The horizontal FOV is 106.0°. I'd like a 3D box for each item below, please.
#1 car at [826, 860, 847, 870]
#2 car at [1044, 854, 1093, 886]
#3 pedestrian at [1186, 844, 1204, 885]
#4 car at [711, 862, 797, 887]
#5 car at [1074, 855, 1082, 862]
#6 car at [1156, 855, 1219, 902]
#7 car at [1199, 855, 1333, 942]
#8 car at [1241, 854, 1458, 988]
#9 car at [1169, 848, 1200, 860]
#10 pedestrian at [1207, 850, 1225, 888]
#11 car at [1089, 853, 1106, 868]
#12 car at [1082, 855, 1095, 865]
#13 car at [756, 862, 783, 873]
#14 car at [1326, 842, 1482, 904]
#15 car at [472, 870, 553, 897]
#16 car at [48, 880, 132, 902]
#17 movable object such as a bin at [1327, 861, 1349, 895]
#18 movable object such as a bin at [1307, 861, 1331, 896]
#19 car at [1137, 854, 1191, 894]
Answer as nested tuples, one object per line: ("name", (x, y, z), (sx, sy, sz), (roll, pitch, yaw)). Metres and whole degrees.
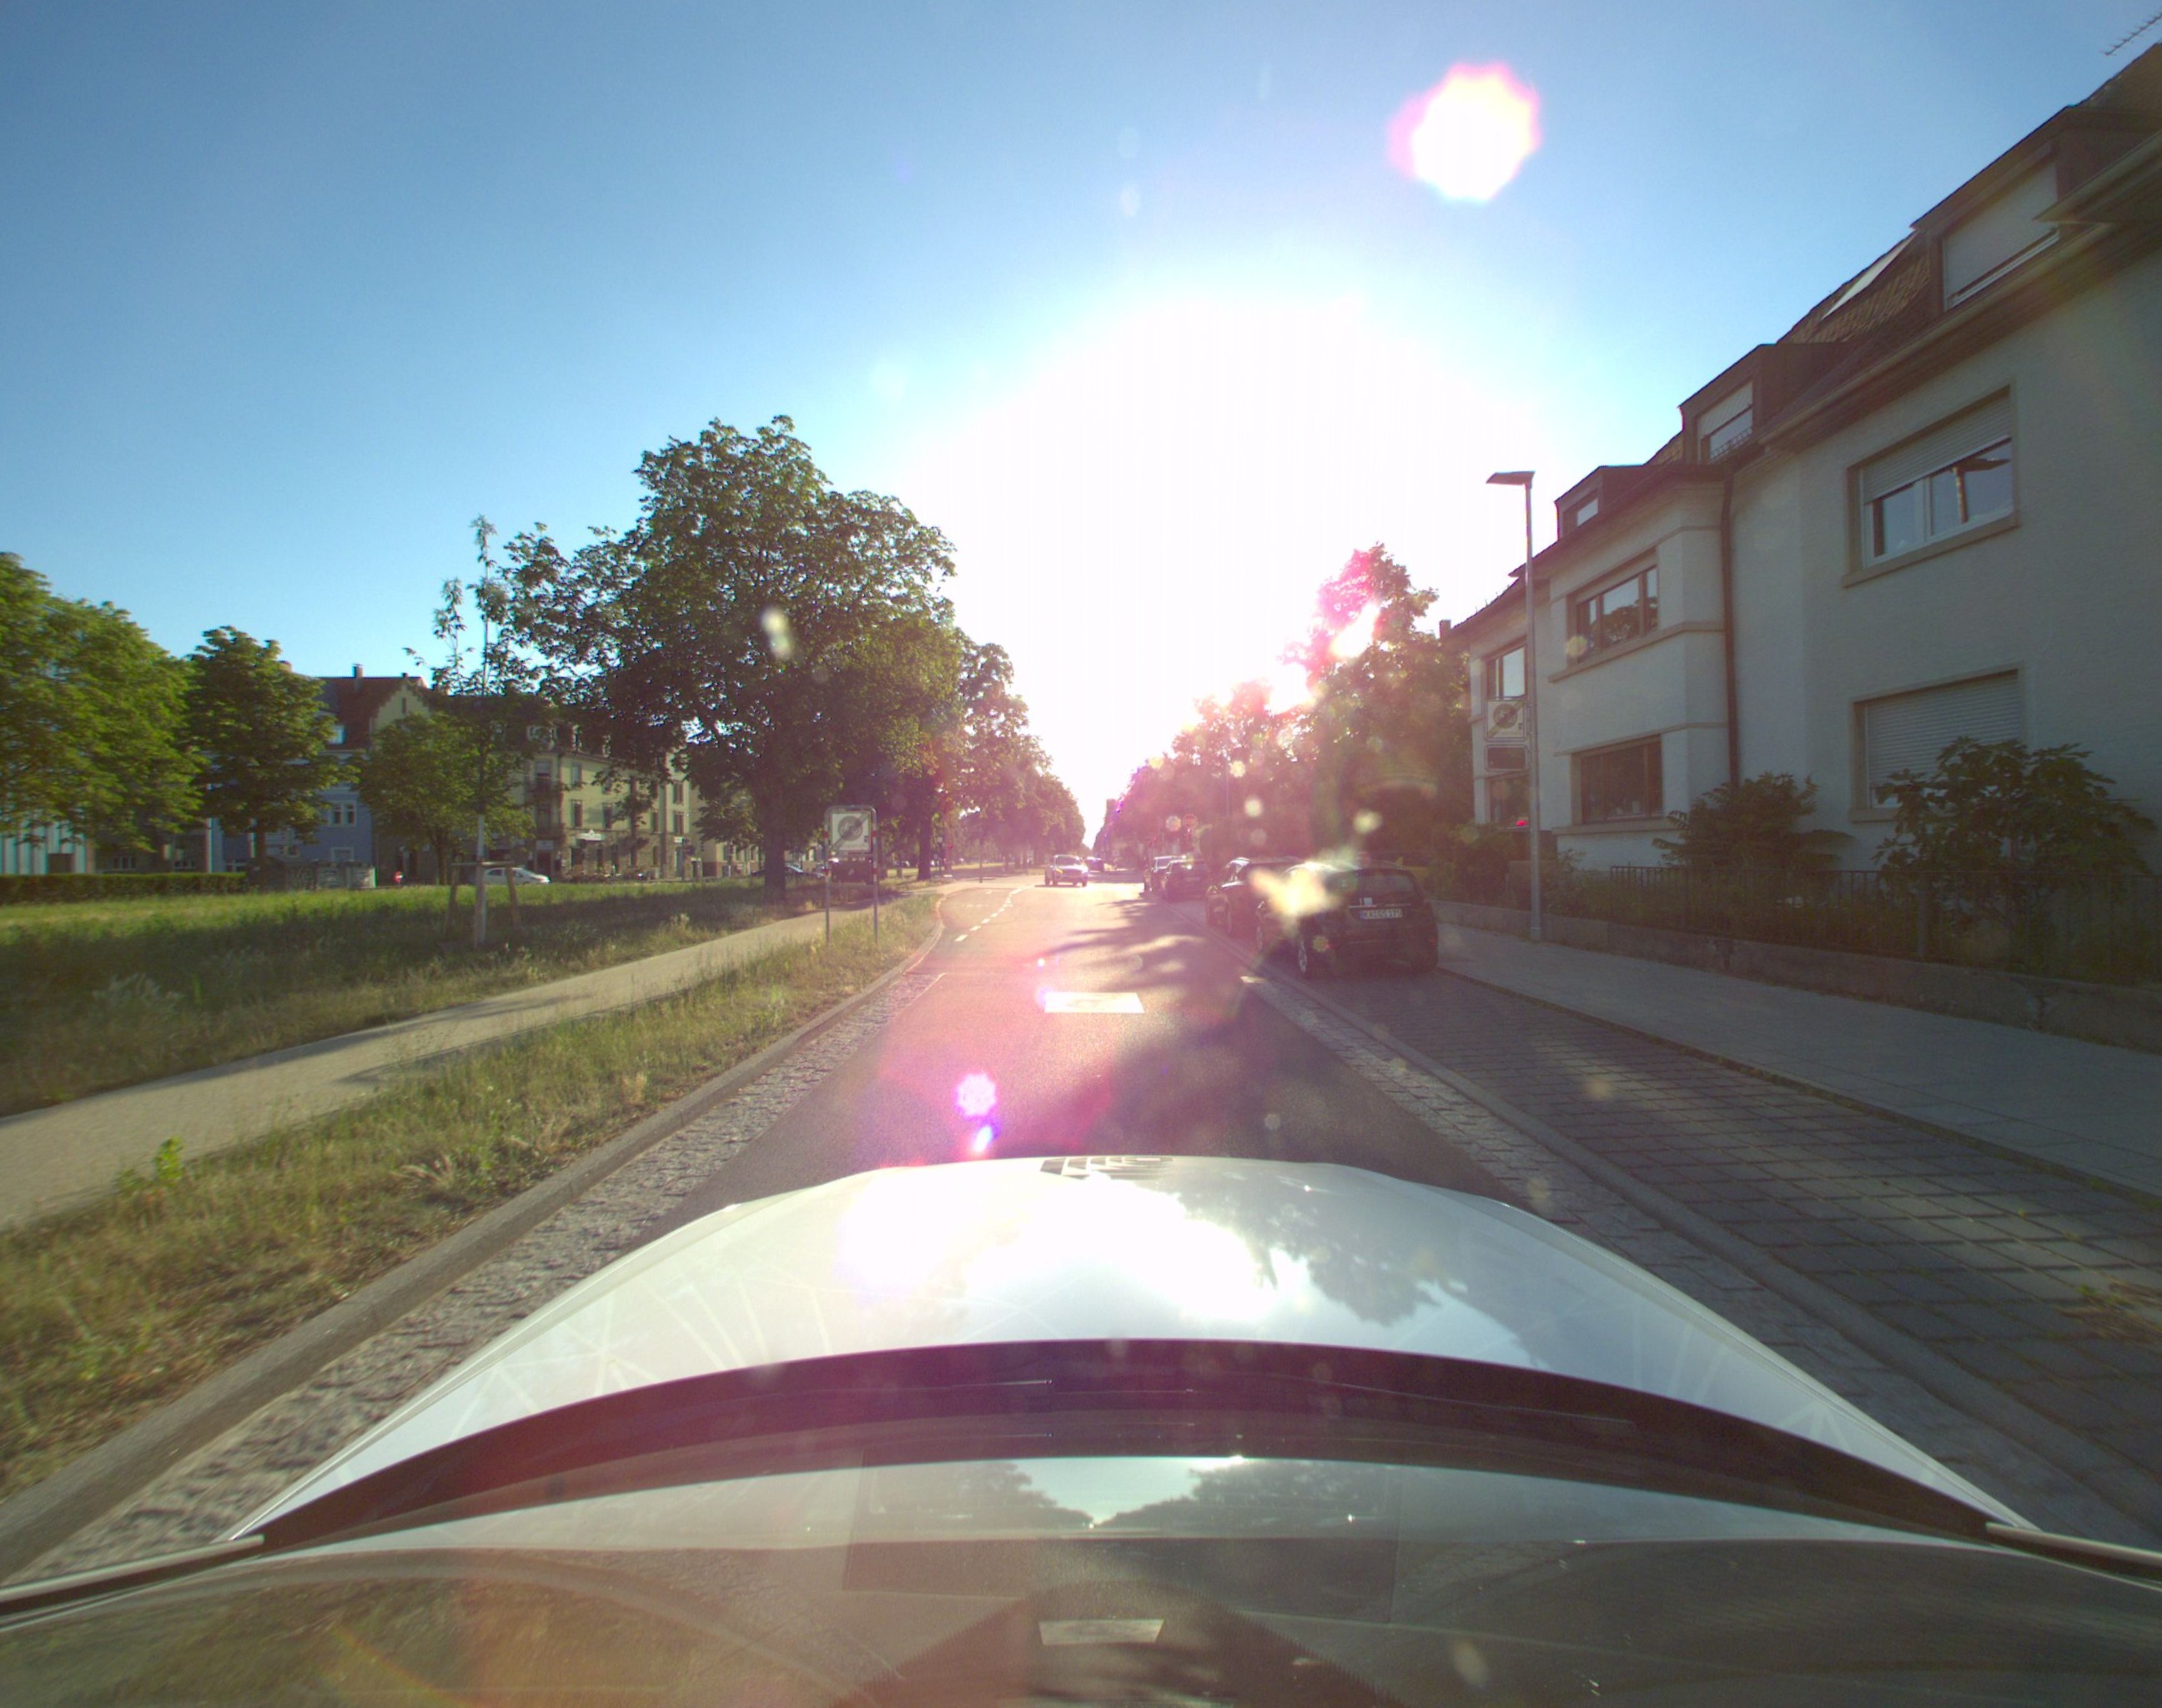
("car", (-35.529, 1.561, 118.406), (1.732, 1.427, 3.793), (-1, 0, 1))
("car", (-0.747, 0.838, 45.018), (1.893, 1.676, 4.406), (-1, 0, -12))
("pedestrian", (5.245, 0.489, 37.513), (0.668, 1.865, 0.881), (-1, 0, -3))
("car", (-20.700, 1.281, 51.728), (4.761, 1.434, 1.810), (-1, 0, -8))
("car", (-0.755, 1.213, 225.440), (2.126, 2.013, 3.903), (-1, 0, 1))
("car", (3.628, 0.797, 28.397), (1.636, 1.427, 3.936), (-3, 0, 0))
("car", (3.626, 0.801, 16.723), (1.741, 1.474, 4.254), (-2, 0, 0))
("car", (3.587, 0.794, 11.671), (1.713, 1.471, 3.983), (-4, 0, 0))
("car", (13.487, -0.008, 106.372), (3.767, 1.525, 1.744), (-1, 1, 0))
("pedestrian", (6.210, 0.686, 37.491), (0.667, 1.708, 0.622), (-1, 0, -2))
("car", (1.704, 0.638, 85.265), (1.634, 1.451, 3.310), (-1, 0, 3))
("car", (1.156, 0.866, 119.261), (1.839, 1.393, 3.830), (-1, 0, 1))
("car", (-41.466, 1.769, 108.558), (1.728, 1.397, 3.800), (-1, 0, 7))
("car", (8.978, 0.509, 22.829), (3.622, 1.496, 1.781), (-3, 0, 0))
("car", (-35.015, 1.810, 50.254), (3.687, 1.488, 1.735), (-1, 0, -11))
("car", (-76.364, 2.855, 62.789), (4.014, 1.592, 2.101), (-1, -1, 2))
("movable object such as a bin", (7.892, 0.730, 24.993), (0.507, 1.043, 0.416), (-1, 0, -5))
("movable object such as a bin", (7.329, 0.744, 25.091), (0.507, 1.043, 0.658), (-1, 0, -5))
("car", (3.469, 0.784, 34.760), (1.852, 1.542, 4.874), (-1, 0, 1))
